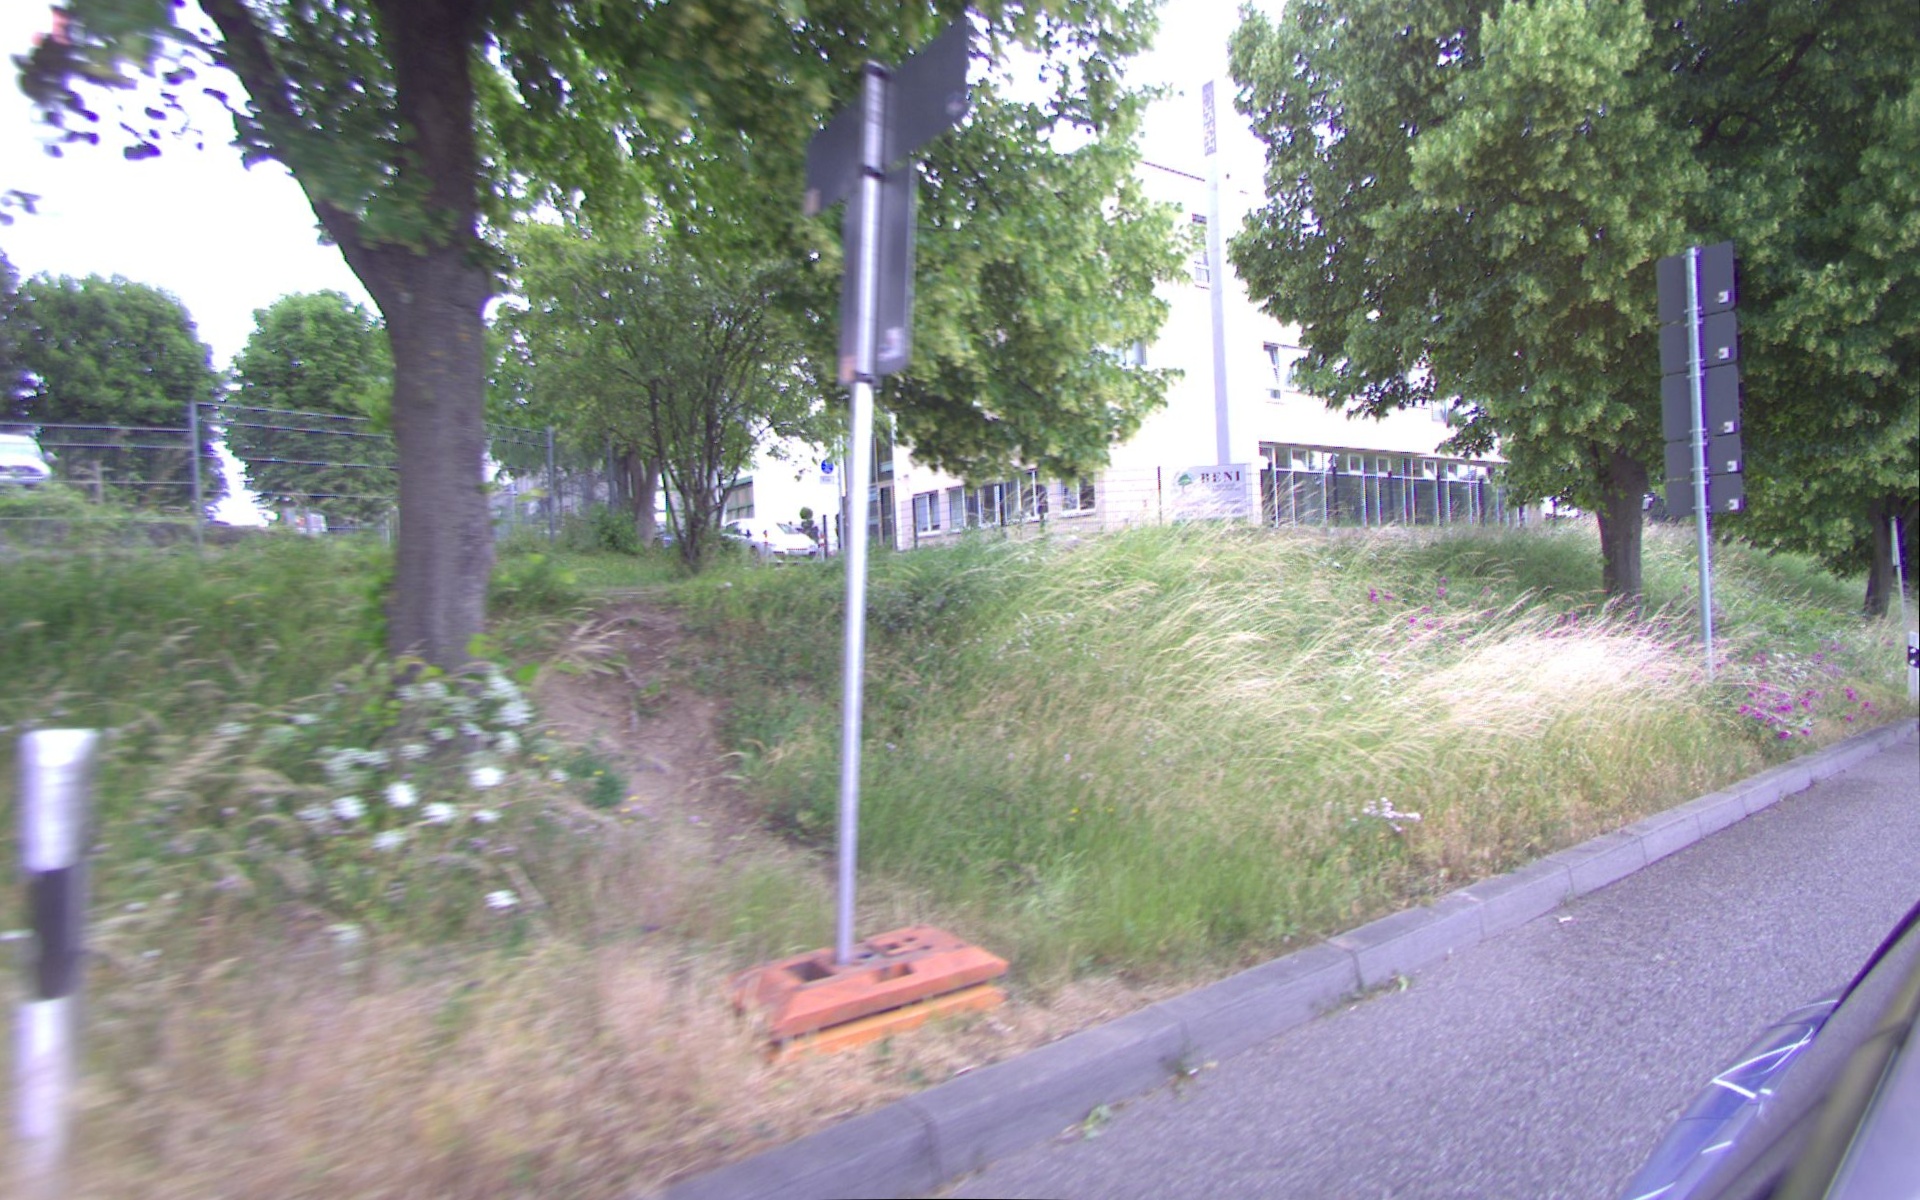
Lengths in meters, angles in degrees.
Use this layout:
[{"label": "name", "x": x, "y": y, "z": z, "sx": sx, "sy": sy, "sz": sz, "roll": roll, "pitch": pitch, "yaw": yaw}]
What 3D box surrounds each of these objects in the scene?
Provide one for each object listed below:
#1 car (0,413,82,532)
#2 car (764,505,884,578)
[{"label": "car", "x": -16.012, "y": -2.060, "z": 16.844, "sx": 1.722, "sy": 1.501, "sz": 3.938, "roll": 0, "pitch": -1, "yaw": -35}, {"label": "car", "x": -3.296, "y": -1.333, "z": 24.105, "sx": 1.546, "sy": 1.529, "sz": 3.371, "roll": 0, "pitch": 0, "yaw": -32}]
